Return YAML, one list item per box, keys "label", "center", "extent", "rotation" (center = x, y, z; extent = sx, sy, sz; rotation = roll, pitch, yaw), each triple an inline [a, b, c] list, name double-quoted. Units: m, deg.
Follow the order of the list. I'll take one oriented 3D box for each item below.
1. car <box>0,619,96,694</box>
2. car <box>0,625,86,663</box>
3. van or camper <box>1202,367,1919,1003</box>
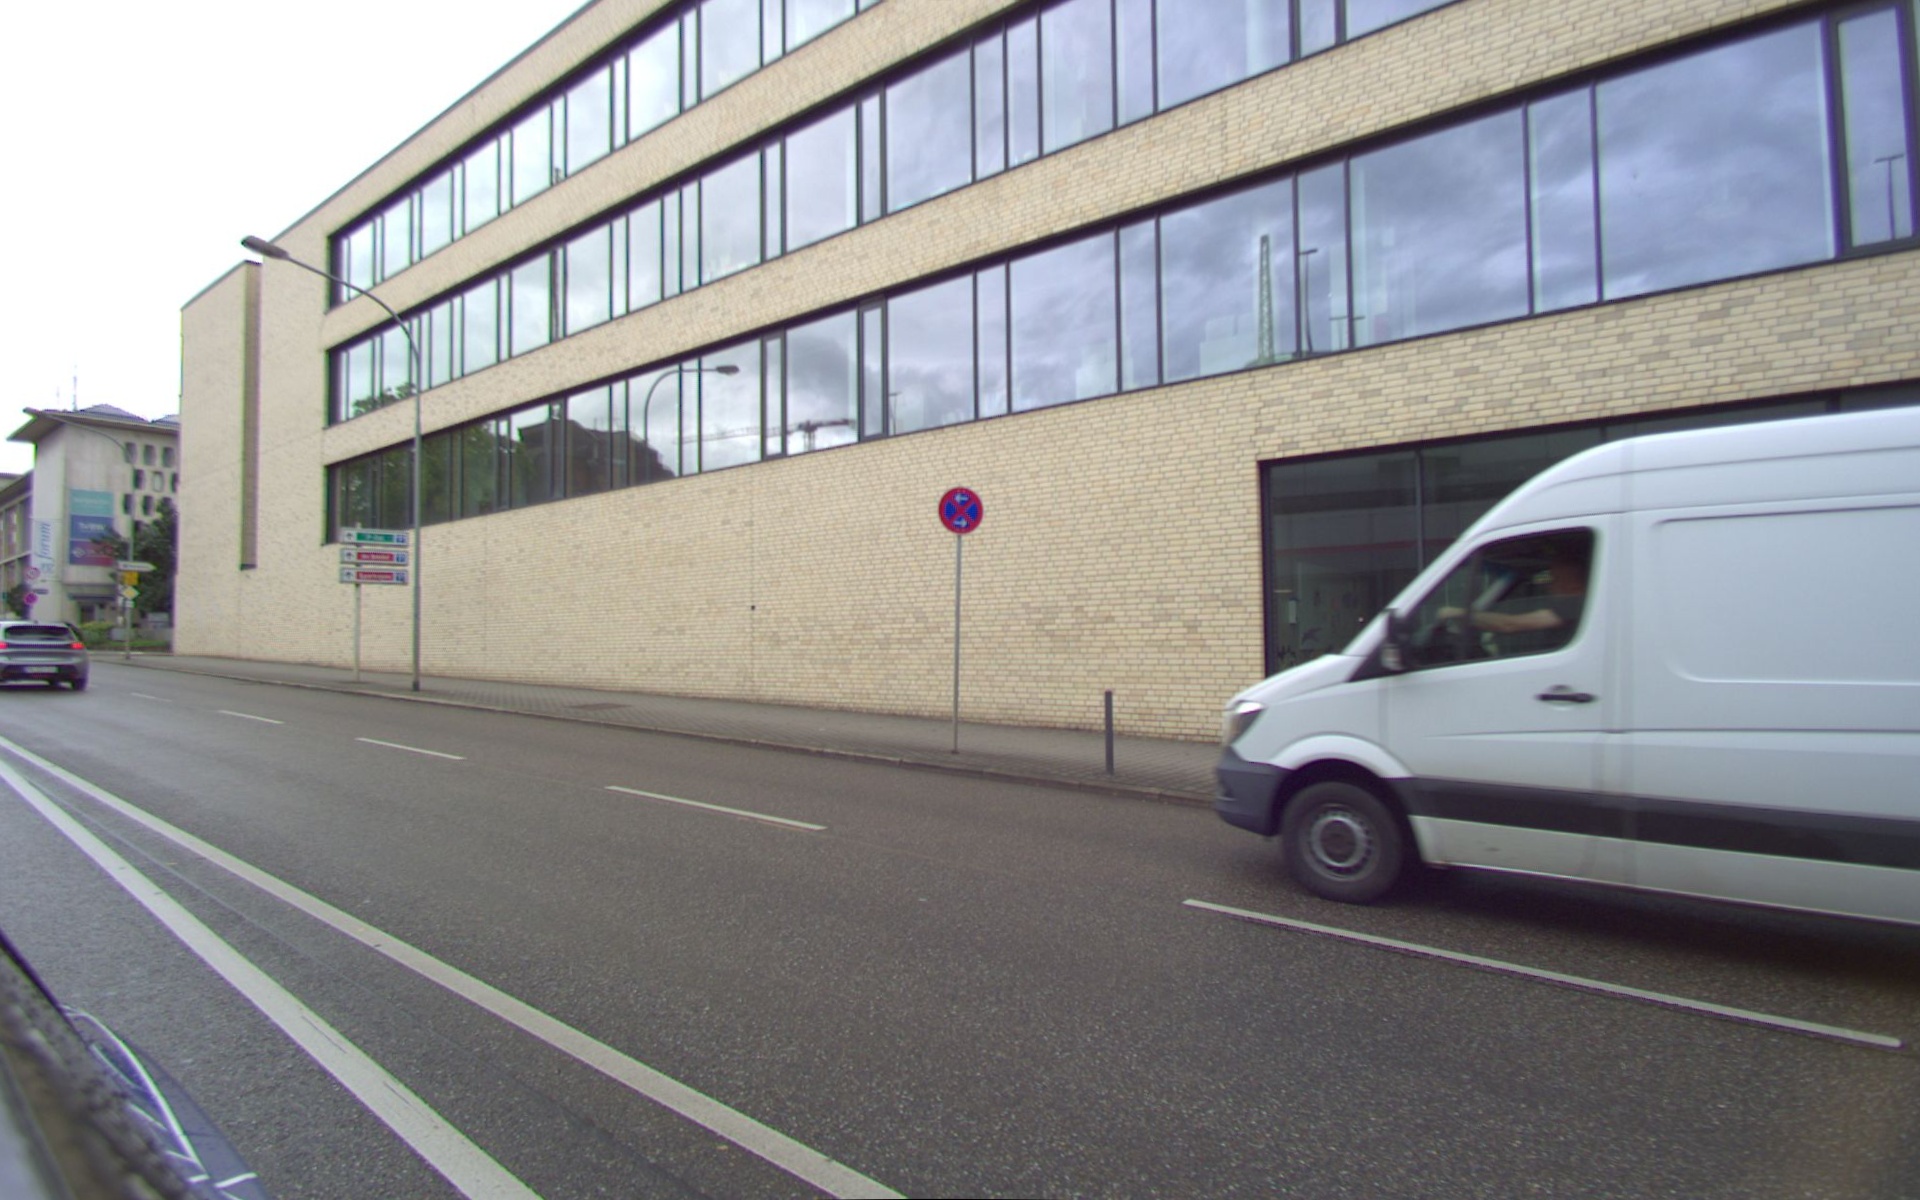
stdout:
- label: "car"
  center: [-20.229, 1.174, 21.805]
  extent: [3.878, 1.481, 1.723]
  rotation: [-1, -4, 39]
- label: "car"
  center: [-43.380, 2.030, 46.917]
  extent: [3.931, 1.674, 1.867]
  rotation: [0, -1, -17]
- label: "van or camper"
  center: [4.415, 0.391, 5.103]
  extent: [5.902, 2.602, 2.081]
  rotation: [-1, -4, 39]
